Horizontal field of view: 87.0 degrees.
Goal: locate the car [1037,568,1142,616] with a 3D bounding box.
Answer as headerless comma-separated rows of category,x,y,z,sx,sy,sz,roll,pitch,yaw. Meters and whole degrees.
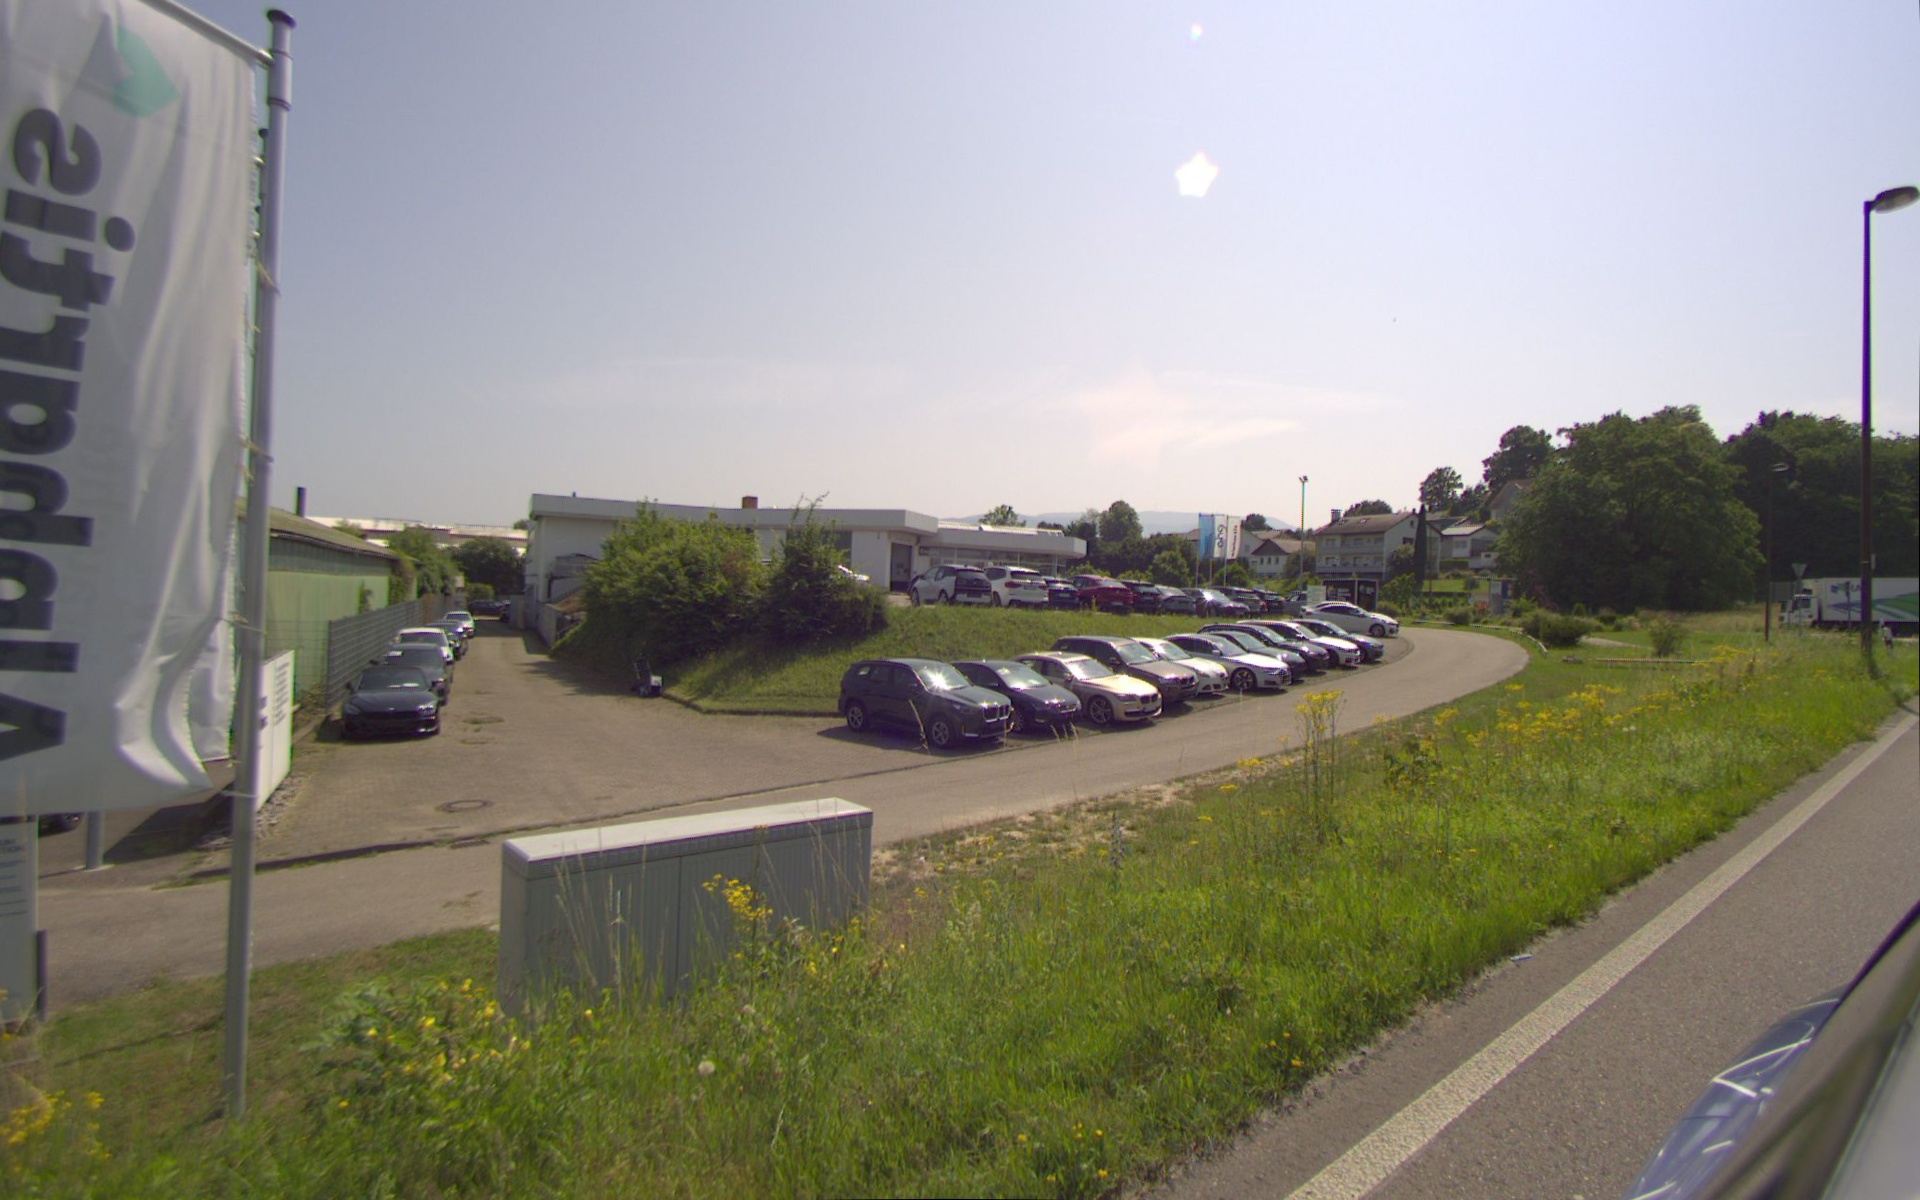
car,5.033,-0.351,39.949,1.909,1.769,4.475,1,1,-27

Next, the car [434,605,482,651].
car,-23.635,1.282,47.727,1.959,2.039,4.006,0,0,-26

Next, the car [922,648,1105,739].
car,1.226,2.122,23.961,3.982,1.571,1.972,2,3,40

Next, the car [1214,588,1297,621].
car,16.554,0.221,56.932,1.910,1.518,4.436,0,4,-27

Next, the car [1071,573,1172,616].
car,6.756,-0.264,42.770,1.909,1.655,4.475,1,1,-27

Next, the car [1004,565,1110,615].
car,3.565,-0.405,38.125,1.801,1.769,4.475,1,1,-27

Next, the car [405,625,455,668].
car,-19.222,1.656,36.750,1.558,1.370,3.704,0,0,-27

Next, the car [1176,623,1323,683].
car,9.450,1.671,33.224,4.250,1.429,1.893,4,5,44

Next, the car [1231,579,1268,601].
car,22.118,-0.763,77.419,1.876,1.531,4.370,2,1,5

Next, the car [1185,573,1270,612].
car,13.564,-0.386,51.538,1.909,1.772,4.016,2,2,-27

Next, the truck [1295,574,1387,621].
truck,23.334,-0.210,62.271,1.908,2.698,5.639,2,1,-21

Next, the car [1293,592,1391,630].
car,19.916,0.557,52.786,4.616,1.590,1.754,4,2,24

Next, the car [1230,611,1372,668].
car,12.432,1.384,36.993,4.545,1.584,1.899,3,5,36

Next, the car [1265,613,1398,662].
car,14.180,1.372,38.749,4.536,1.438,1.765,3,4,30

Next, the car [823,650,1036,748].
car,-0.749,2.090,22.478,4.474,1.660,2.117,0,2,40

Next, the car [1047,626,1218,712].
car,4.659,1.802,27.681,4.250,1.769,1.969,4,5,44

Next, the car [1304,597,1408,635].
car,19.499,0.737,49.898,4.538,1.590,1.750,3,2,30

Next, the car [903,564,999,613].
car,-0.367,-0.422,34.701,1.732,1.552,3.894,1,1,-27

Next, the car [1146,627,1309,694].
car,8.118,1.772,30.859,4.410,1.483,1.899,4,5,36

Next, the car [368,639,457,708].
car,-14.521,1.865,26.910,1.943,1.490,4.464,0,0,-28

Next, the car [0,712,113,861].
car,-12.502,2.379,12.428,1.715,1.542,3.811,0,0,-14

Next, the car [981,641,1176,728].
car,2.921,2.044,25.777,4.769,1.526,1.969,4,5,44

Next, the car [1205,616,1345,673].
car,10.906,1.499,35.155,4.236,1.500,1.899,3,5,36

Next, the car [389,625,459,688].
car,-17.165,1.740,32.419,1.883,1.752,4.322,0,0,-28

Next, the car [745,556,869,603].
car,-5.784,-0.756,38.211,4.215,1.616,1.926,1,1,-25

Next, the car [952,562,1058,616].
car,1.519,-0.426,36.155,1.801,1.769,4.475,1,1,-27

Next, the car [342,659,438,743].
car,-12.374,2.121,22.084,1.684,1.393,3.956,0,0,-28

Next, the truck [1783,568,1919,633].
truck,56.130,0.033,61.592,8.944,3.878,2.870,0,0,30

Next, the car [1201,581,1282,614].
car,15.177,-0.174,54.765,1.909,1.518,4.016,3,2,-27

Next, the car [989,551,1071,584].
car,3.796,-1.736,54.653,4.202,1.606,1.652,2,1,12

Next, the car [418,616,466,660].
car,-21.479,1.517,42.071,1.702,1.661,4.185,0,0,-26

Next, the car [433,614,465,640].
car,-28.993,1.489,57.412,1.558,1.370,3.704,0,0,-27

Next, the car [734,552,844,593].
car,-7.229,-1.152,42.869,4.215,1.616,1.926,1,1,-25

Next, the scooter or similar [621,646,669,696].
scooter or similar,-9.288,2.060,29.812,0.612,1.330,1.977,0,0,-42

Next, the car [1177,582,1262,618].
car,12.343,-0.032,48.322,1.908,1.545,4.017,2,1,-21

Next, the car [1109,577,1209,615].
car,8.615,-0.200,44.261,1.909,1.518,4.475,2,1,-27

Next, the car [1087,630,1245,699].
car,5.982,1.824,29.745,4.250,1.483,1.844,3,5,44
